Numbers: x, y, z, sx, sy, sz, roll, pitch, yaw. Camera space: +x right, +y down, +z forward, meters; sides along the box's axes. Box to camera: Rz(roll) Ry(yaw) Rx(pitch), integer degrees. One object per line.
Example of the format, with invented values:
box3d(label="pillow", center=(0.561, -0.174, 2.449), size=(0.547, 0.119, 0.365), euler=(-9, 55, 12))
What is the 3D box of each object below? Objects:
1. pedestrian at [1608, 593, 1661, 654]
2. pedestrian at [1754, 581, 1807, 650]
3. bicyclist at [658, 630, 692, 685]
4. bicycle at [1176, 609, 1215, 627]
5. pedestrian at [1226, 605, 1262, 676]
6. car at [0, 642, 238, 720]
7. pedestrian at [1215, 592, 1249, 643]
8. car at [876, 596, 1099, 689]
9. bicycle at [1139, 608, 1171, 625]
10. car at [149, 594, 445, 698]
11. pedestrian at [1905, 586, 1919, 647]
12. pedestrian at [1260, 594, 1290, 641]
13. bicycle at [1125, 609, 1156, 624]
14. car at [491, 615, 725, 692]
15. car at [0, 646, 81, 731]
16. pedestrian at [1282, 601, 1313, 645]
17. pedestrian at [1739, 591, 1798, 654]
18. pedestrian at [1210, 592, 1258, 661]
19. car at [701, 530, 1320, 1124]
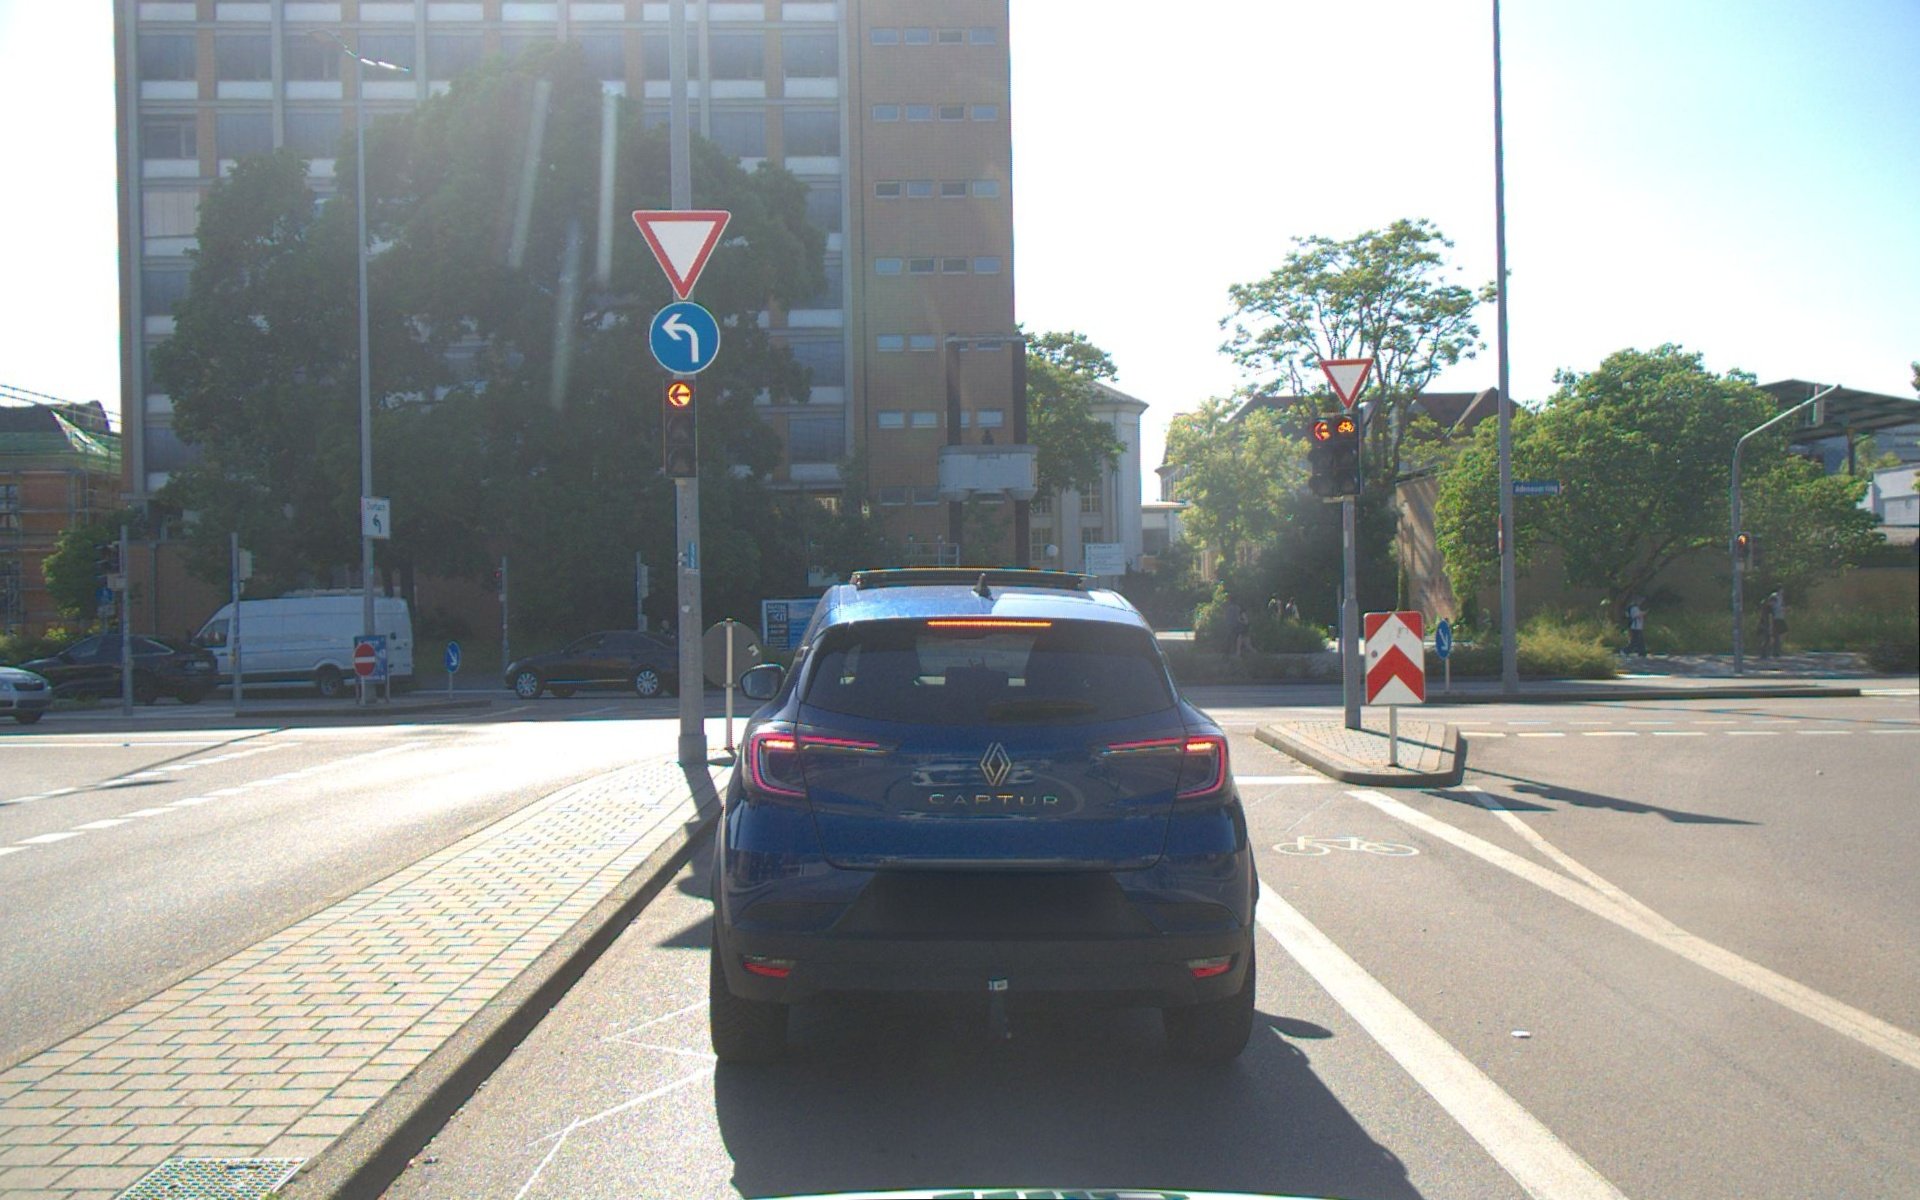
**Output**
box3d(label="pedestrian", center=(17.501, 0.611, 42.936), size=(1.062, 1.547, 0.931), euler=(-1, 0, 9))
box3d(label="pedestrian", center=(21.297, 0.399, 42.970), size=(0.942, 1.763, 0.926), euler=(-1, 0, 6))
box3d(label="bicyclist", center=(-7.568, 1.527, 43.918), size=(0.634, 1.437, 0.638), euler=(1, -3, -44))
box3d(label="bicycle", center=(11.859, 0.914, 83.308), size=(1.739, 0.837, 0.763), euler=(-1, 0, -11))
box3d(label="pedestrian", center=(7.709, 1.097, 44.919), size=(0.912, 1.888, 0.808), euler=(-1, 0, 8))
box3d(label="car", center=(-19.784, 1.882, 38.756), size=(4.922, 1.702, 2.001), euler=(1, -3, 10))
box3d(label="pedestrian", center=(11.027, 0.702, 67.046), size=(1.132, 2.049, 1.164), euler=(-1, 0, -1))
box3d(label="car", center=(0.678, 0.978, 38.716), size=(4.892, 2.049, 2.074), euler=(-1, 0, 12))
box3d(label="bicycle", center=(11.201, 0.964, 95.099), size=(1.735, 0.914, 0.765), euler=(-1, 0, -1))
box3d(label="car", center=(-17.478, 1.201, 43.711), size=(6.787, 2.591, 3.015), euler=(-1, 0, 15))
box3d(label="pedestrian", center=(24.850, 0.412, 42.040), size=(1.122, 1.547, 0.942), euler=(-1, 0, 5))
box3d(label="pedestrian", center=(12.087, 0.672, 63.556), size=(0.933, 1.772, 0.984), euler=(-1, 0, -1))
box3d(label="bicycle", center=(10.855, 0.995, 99.457), size=(1.735, 0.908, 0.765), euler=(-1, 0, -1))
box3d(label="car", center=(-7.969, 1.202, 37.638), size=(4.739, 1.609, 2.103), euler=(-1, 0, 12))
box3d(label="car", center=(-17.699, 1.531, 28.976), size=(3.762, 1.428, 1.893), euler=(0, -3, 15))
box3d(label="pedestrian", center=(12.814, 0.868, 62.875), size=(0.917, 1.641, 1.175), euler=(-1, 0, -1))
box3d(label="pedestrian", center=(20.374, 0.565, 41.708), size=(1.052, 1.547, 0.879), euler=(-1, 0, 4))
box3d(label="pedestrian", center=(7.586, 0.729, 45.748), size=(1.269, 1.888, 0.967), euler=(-1, 0, 11))
box3d(label="car", center=(0.094, 0.641, 6.649), size=(1.758, 1.684, 3.852), euler=(1, 0, -2))
